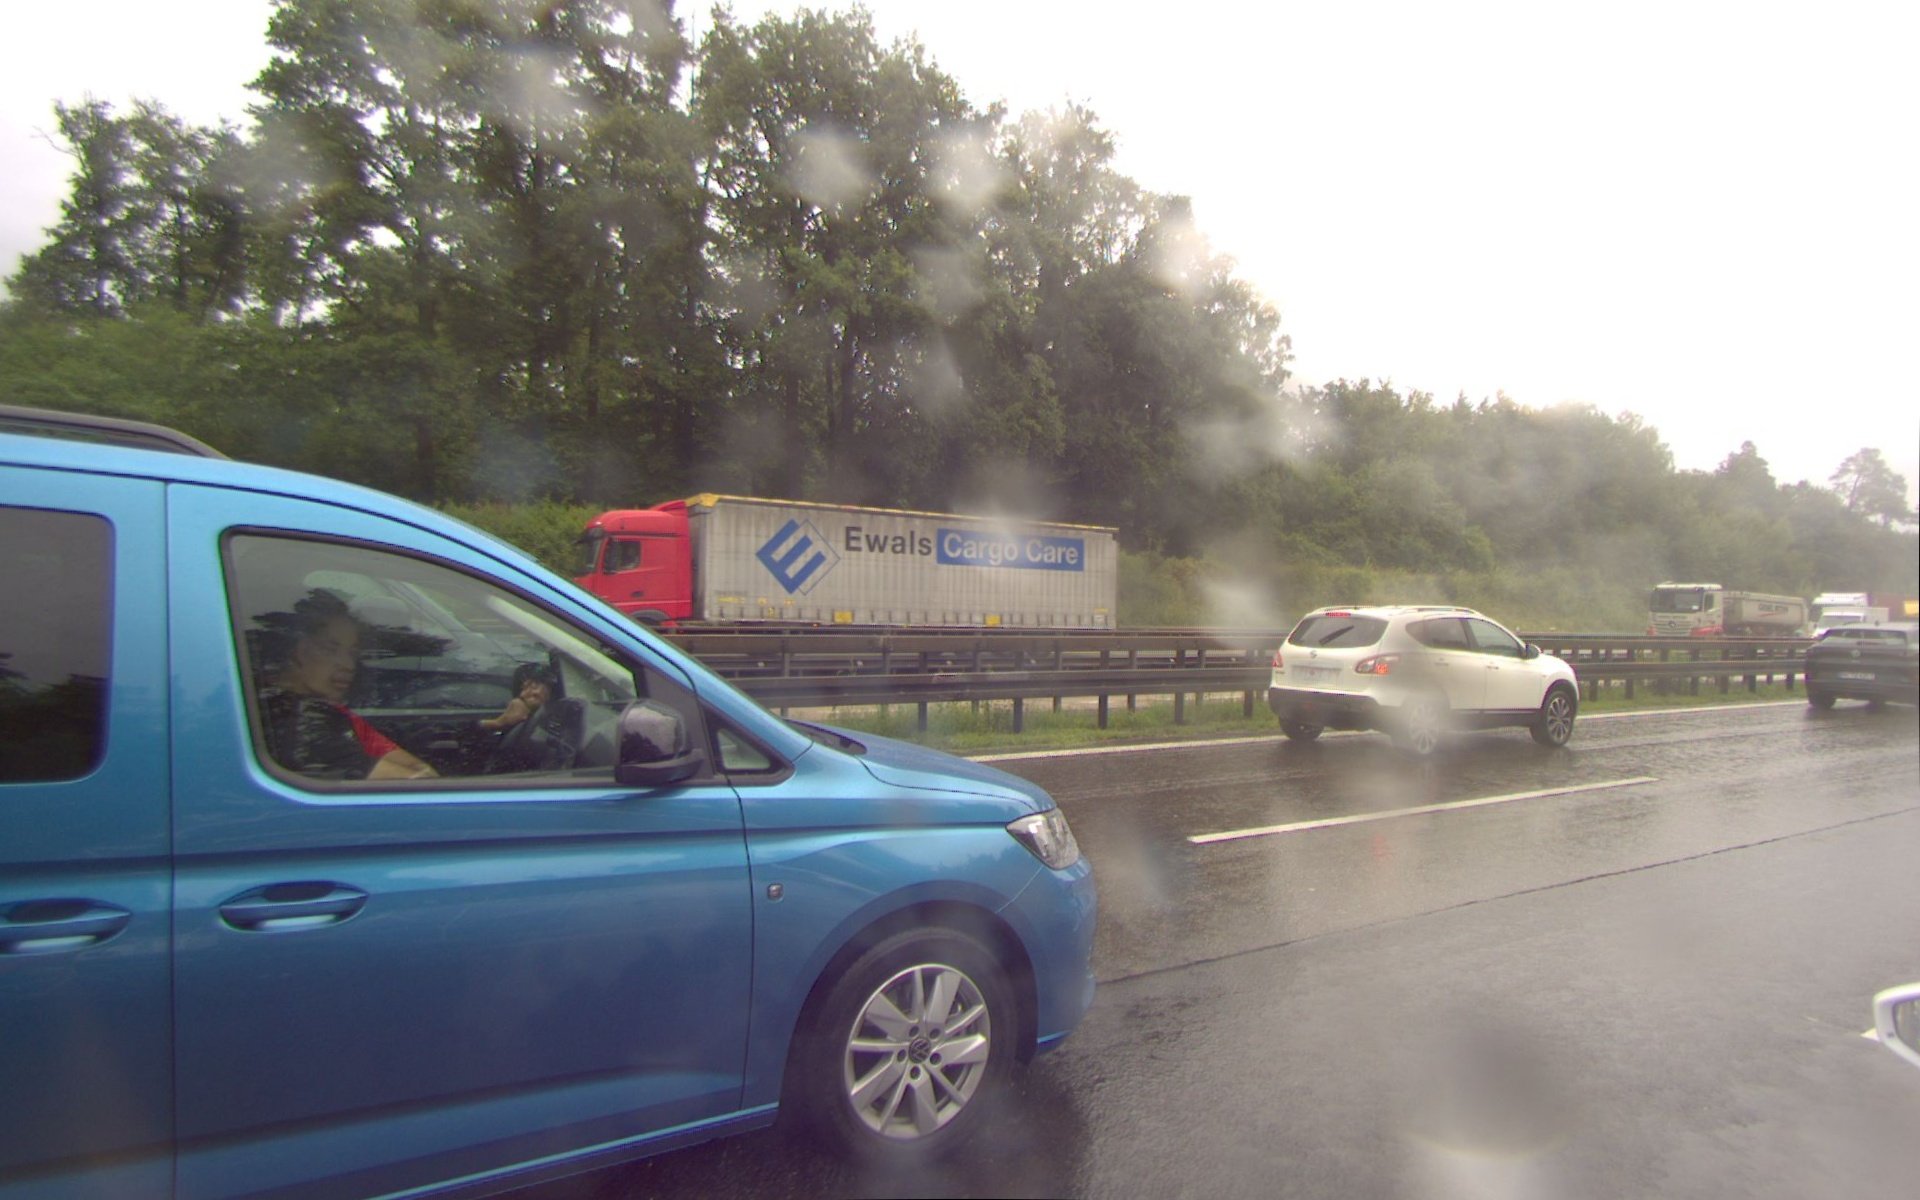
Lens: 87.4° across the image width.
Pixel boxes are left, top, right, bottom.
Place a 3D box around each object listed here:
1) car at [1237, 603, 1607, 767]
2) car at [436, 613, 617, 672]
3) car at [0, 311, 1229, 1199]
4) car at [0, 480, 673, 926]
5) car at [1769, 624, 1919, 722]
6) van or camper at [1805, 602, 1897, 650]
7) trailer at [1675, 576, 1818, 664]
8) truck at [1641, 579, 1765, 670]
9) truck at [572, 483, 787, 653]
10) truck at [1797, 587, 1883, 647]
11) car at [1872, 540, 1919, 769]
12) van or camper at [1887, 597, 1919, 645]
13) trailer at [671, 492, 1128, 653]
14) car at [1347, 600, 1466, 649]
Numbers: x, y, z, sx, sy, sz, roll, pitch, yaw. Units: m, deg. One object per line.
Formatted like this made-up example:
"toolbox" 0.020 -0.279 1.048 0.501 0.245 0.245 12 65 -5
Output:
"car" 5.556 0.884 11.929 4.415 1.613 1.836 1 0 -31
"car" -10.895 1.056 25.304 3.956 1.362 1.792 2 -1 -32
"car" -1.939 0.497 2.699 4.953 1.937 2.260 1 0 -29
"car" -4.436 0.455 5.477 5.182 1.970 1.981 2 0 -31
"car" 17.406 1.290 19.014 4.414 1.613 1.836 1 0 -31
"van or camper" 49.880 1.431 56.203 6.050 2.581 2.187 1 -1 -31
"trailer" 38.616 1.042 49.176 9.314 4.006 2.365 2 -1 -31
"truck" 34.647 1.173 46.768 6.462 4.006 2.365 2 -1 -31
"truck" -7.252 -0.663 26.012 4.834 4.006 2.691 1 -2 -30
"truck" 59.595 1.143 67.997 6.194 3.869 2.689 1 0 -32
"car" 13.388 0.666 12.000 4.954 2.607 2.203 1 0 -29
"van or camper" 64.589 1.430 66.238 8.687 3.018 2.827 2 0 -32
"trailer" -1.216 -0.488 29.649 13.800 4.006 2.706 2 -2 -31
"car" 17.429 0.955 39.101 4.989 1.793 1.980 1 -1 -35
